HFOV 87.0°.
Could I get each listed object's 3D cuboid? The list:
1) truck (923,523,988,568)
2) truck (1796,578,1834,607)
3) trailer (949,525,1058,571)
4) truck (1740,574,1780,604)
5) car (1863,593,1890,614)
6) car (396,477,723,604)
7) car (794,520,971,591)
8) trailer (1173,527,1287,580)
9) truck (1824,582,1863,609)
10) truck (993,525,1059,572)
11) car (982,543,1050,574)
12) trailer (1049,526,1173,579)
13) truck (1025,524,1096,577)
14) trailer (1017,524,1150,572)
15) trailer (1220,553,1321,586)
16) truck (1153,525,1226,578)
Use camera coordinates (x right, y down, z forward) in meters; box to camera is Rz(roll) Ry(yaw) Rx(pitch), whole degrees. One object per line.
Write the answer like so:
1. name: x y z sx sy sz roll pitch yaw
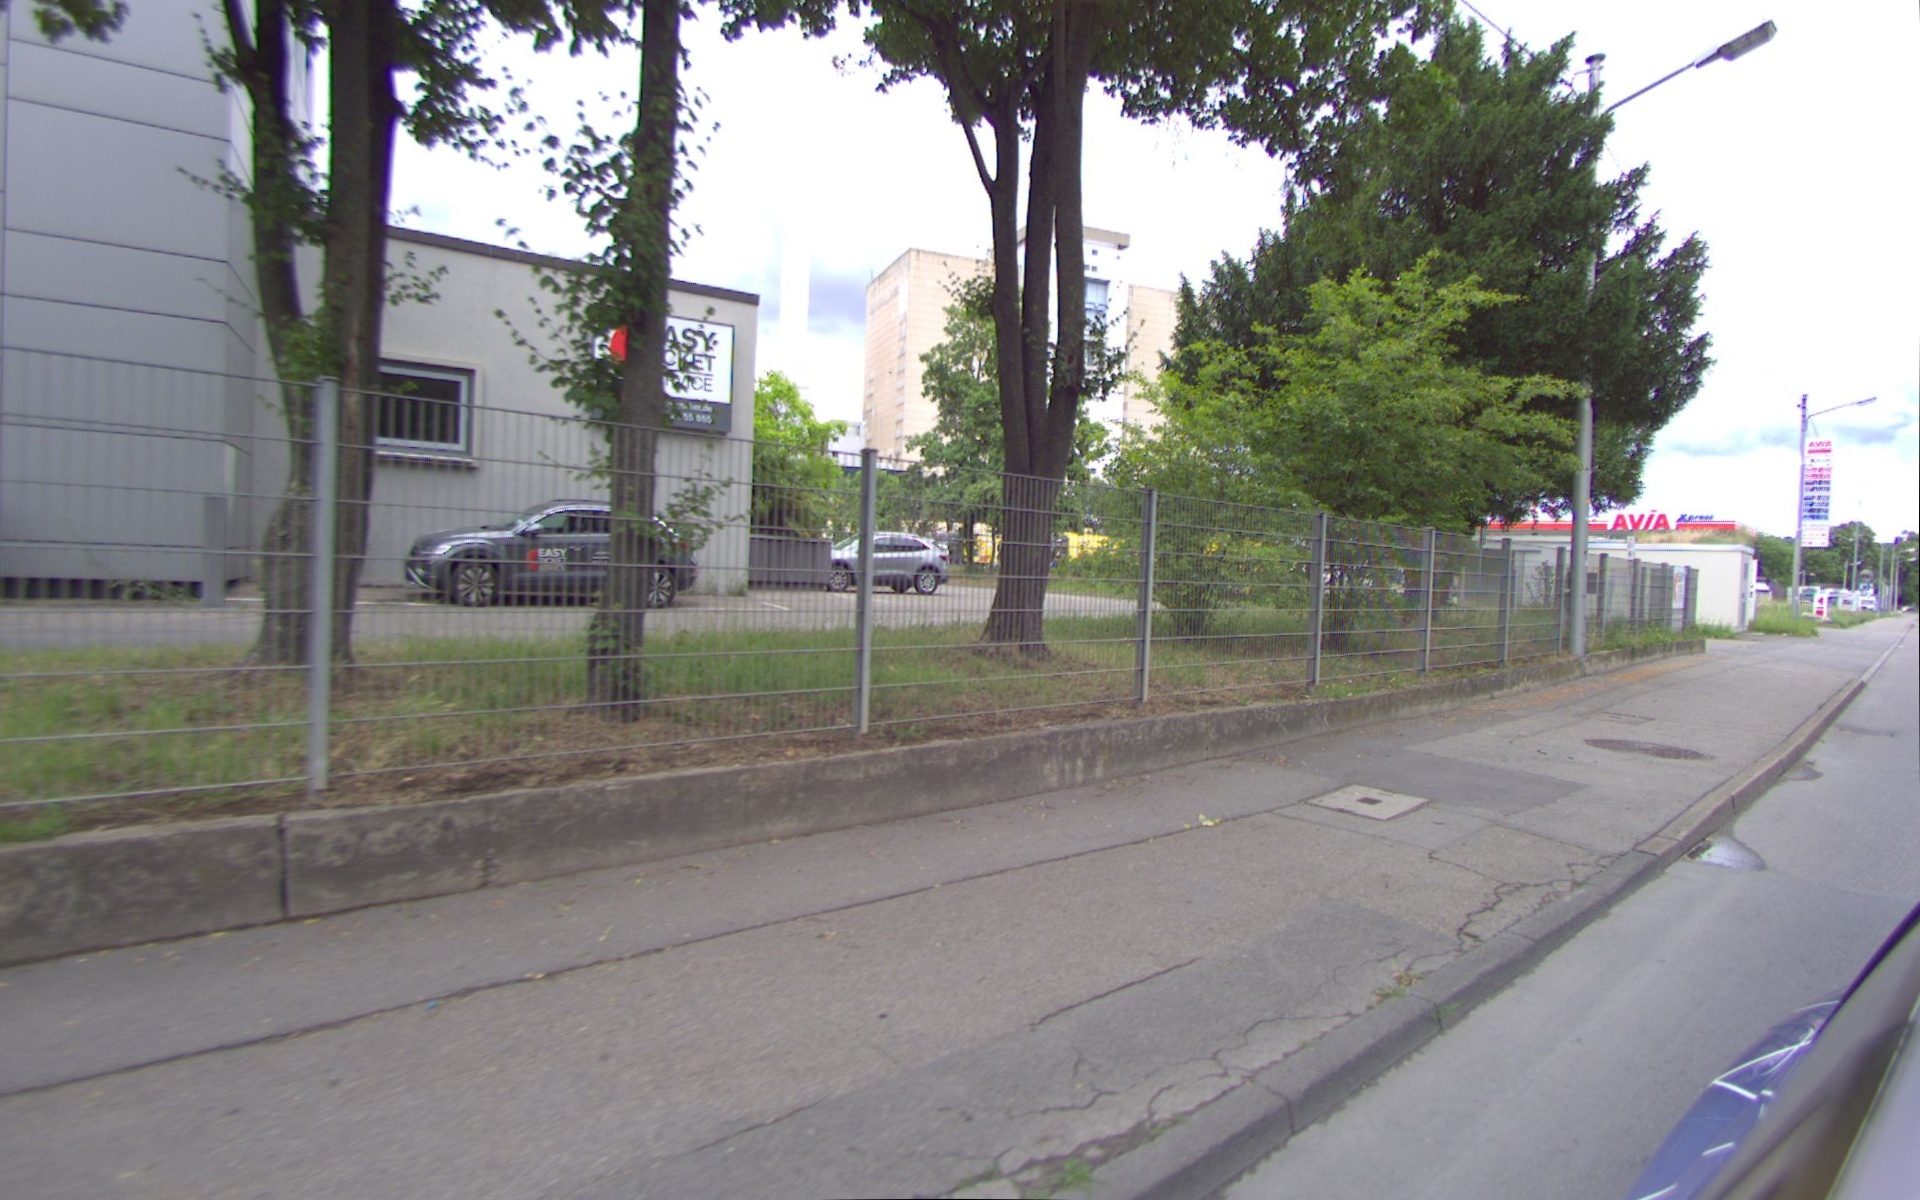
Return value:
1. truck: -0.371 -5.154 96.482 2.691 3.962 5.946 5 3 43
2. truck: 127.307 -1.120 150.712 2.851 4.062 6.687 5 3 29
3. trailer: 4.566 -5.123 101.755 2.691 3.962 13.474 5 3 43
4. truck: 117.048 -1.642 148.167 2.845 4.144 6.700 4 2 25
5. car: 114.707 0.408 126.654 5.982 2.445 2.088 1 2 -44
6. car: -6.156 -0.899 15.663 4.354 1.585 2.003 2 4 -32
7. car: -2.119 -1.213 27.857 4.352 1.631 2.003 2 2 -30
8. trailer: 23.314 -3.849 86.602 3.001 3.962 14.077 5 3 43
9. truck: 132.234 -0.721 151.586 2.851 3.674 6.687 5 3 29
10. truck: 6.012 -4.616 91.642 2.691 3.962 5.946 5 3 43
11. car: 3.238 -2.363 58.075 3.821 1.548 1.734 0 3 -45
12. trailer: 14.439 -4.360 95.017 3.021 4.312 15.478 5 3 43
13. truck: 8.864 -4.357 89.096 3.045 4.314 5.946 5 3 43
14. trailer: 12.389 -4.926 98.455 2.691 3.962 17.788 5 3 43
15. trailer: 43.716 -4.420 143.800 3.565 4.224 18.548 2 2 -18
16. truck: 18.462 -3.863 81.404 2.958 3.962 5.946 5 3 43
